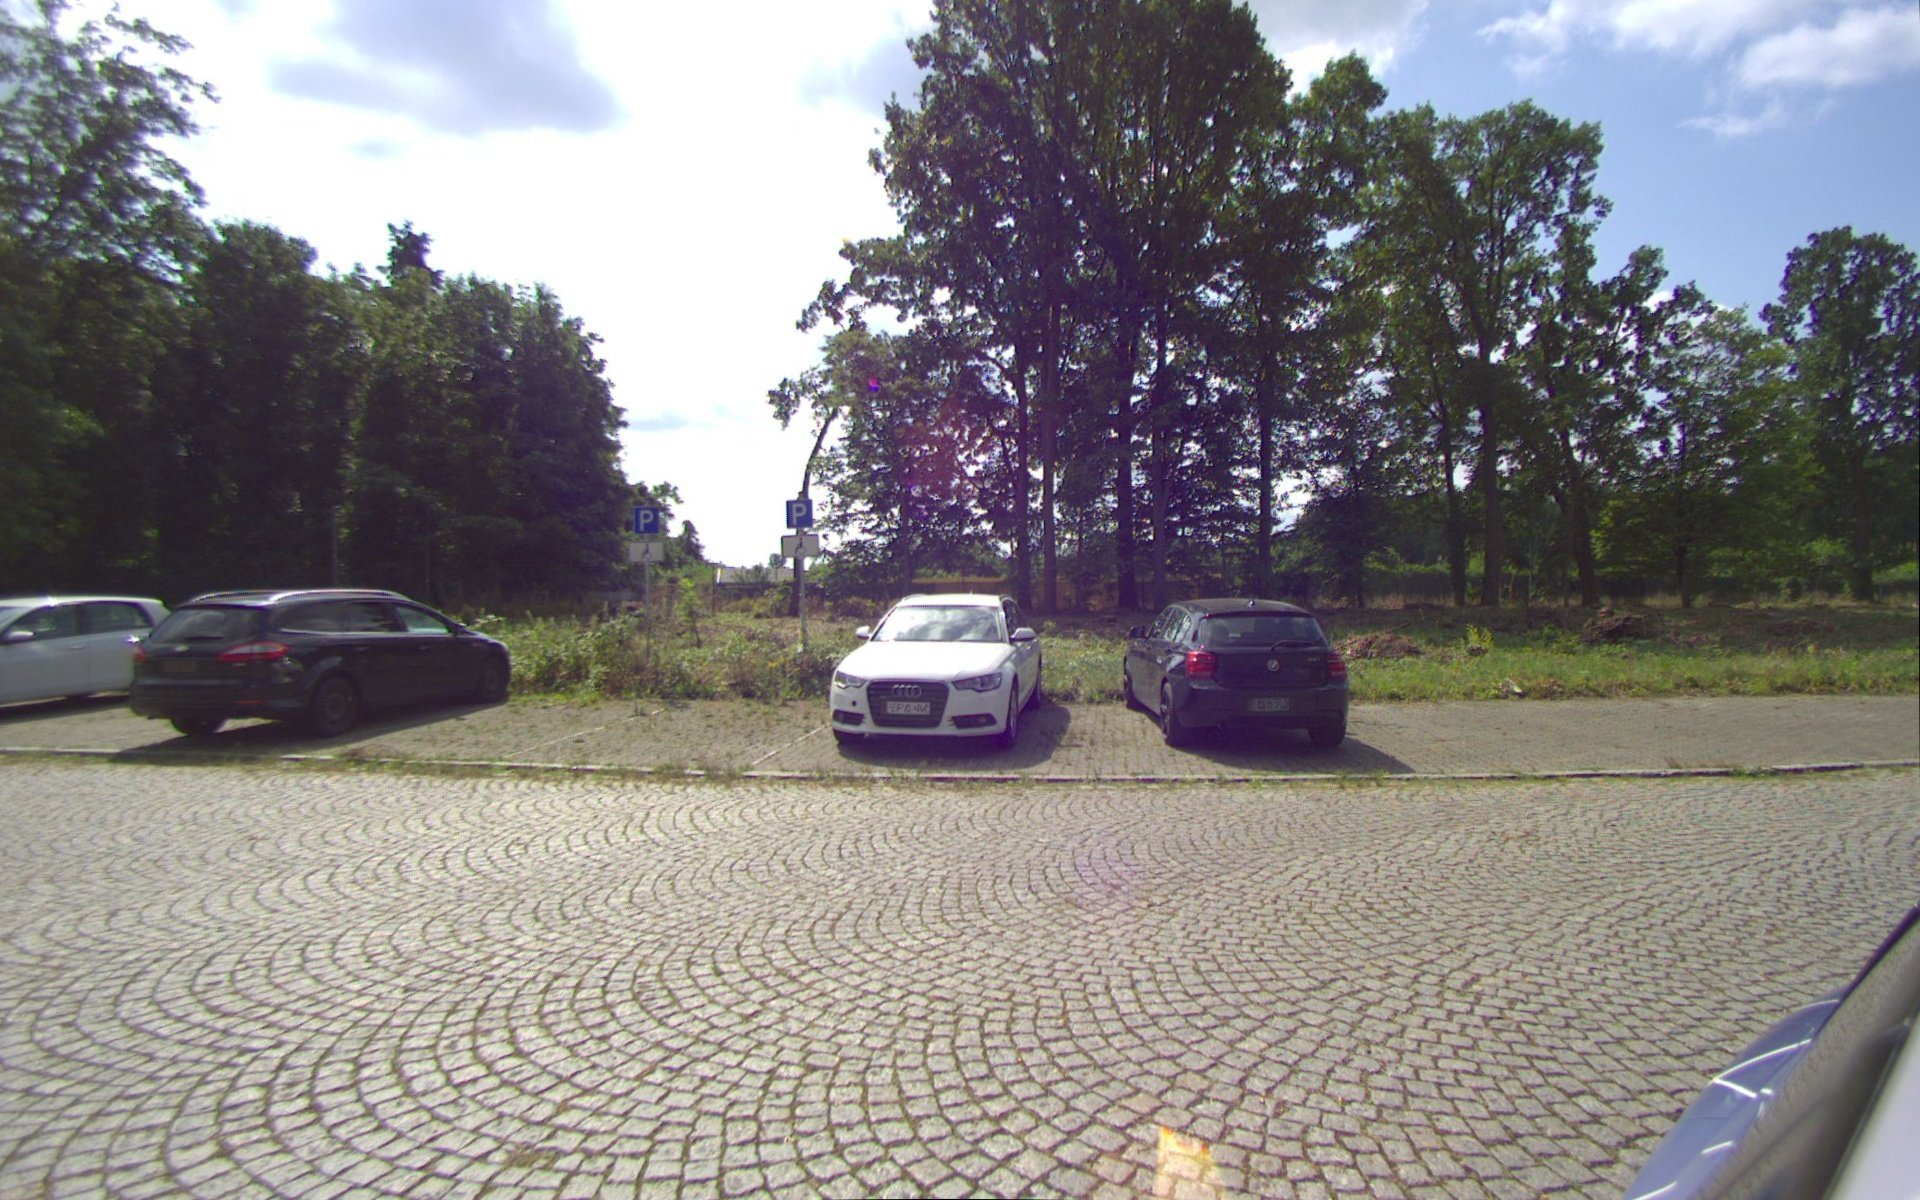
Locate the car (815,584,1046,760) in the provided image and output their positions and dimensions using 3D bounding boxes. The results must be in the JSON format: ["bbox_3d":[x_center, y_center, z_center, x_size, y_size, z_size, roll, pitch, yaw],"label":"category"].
[{"bbox_3d":[-0.085,0.604,11.625,1.843,1.490,4.868,0,2,8],"label":"car"}]

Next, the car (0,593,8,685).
[{"bbox_3d":[-16.926,0.722,14.722,1.792,1.502,4.208,-1,2,12],"label":"car"}]

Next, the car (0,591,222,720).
[{"bbox_3d":[-12.431,0.701,13.359,1.736,1.502,4.403,-1,2,8],"label":"car"}]

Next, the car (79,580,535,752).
[{"bbox_3d":[-7.332,0.597,12.161,1.848,1.571,4.858,-1,2,8],"label":"car"}]

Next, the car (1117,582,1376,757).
[{"bbox_3d":[2.944,0.593,11.385,1.796,1.518,4.338,0,2,2],"label":"car"}]
